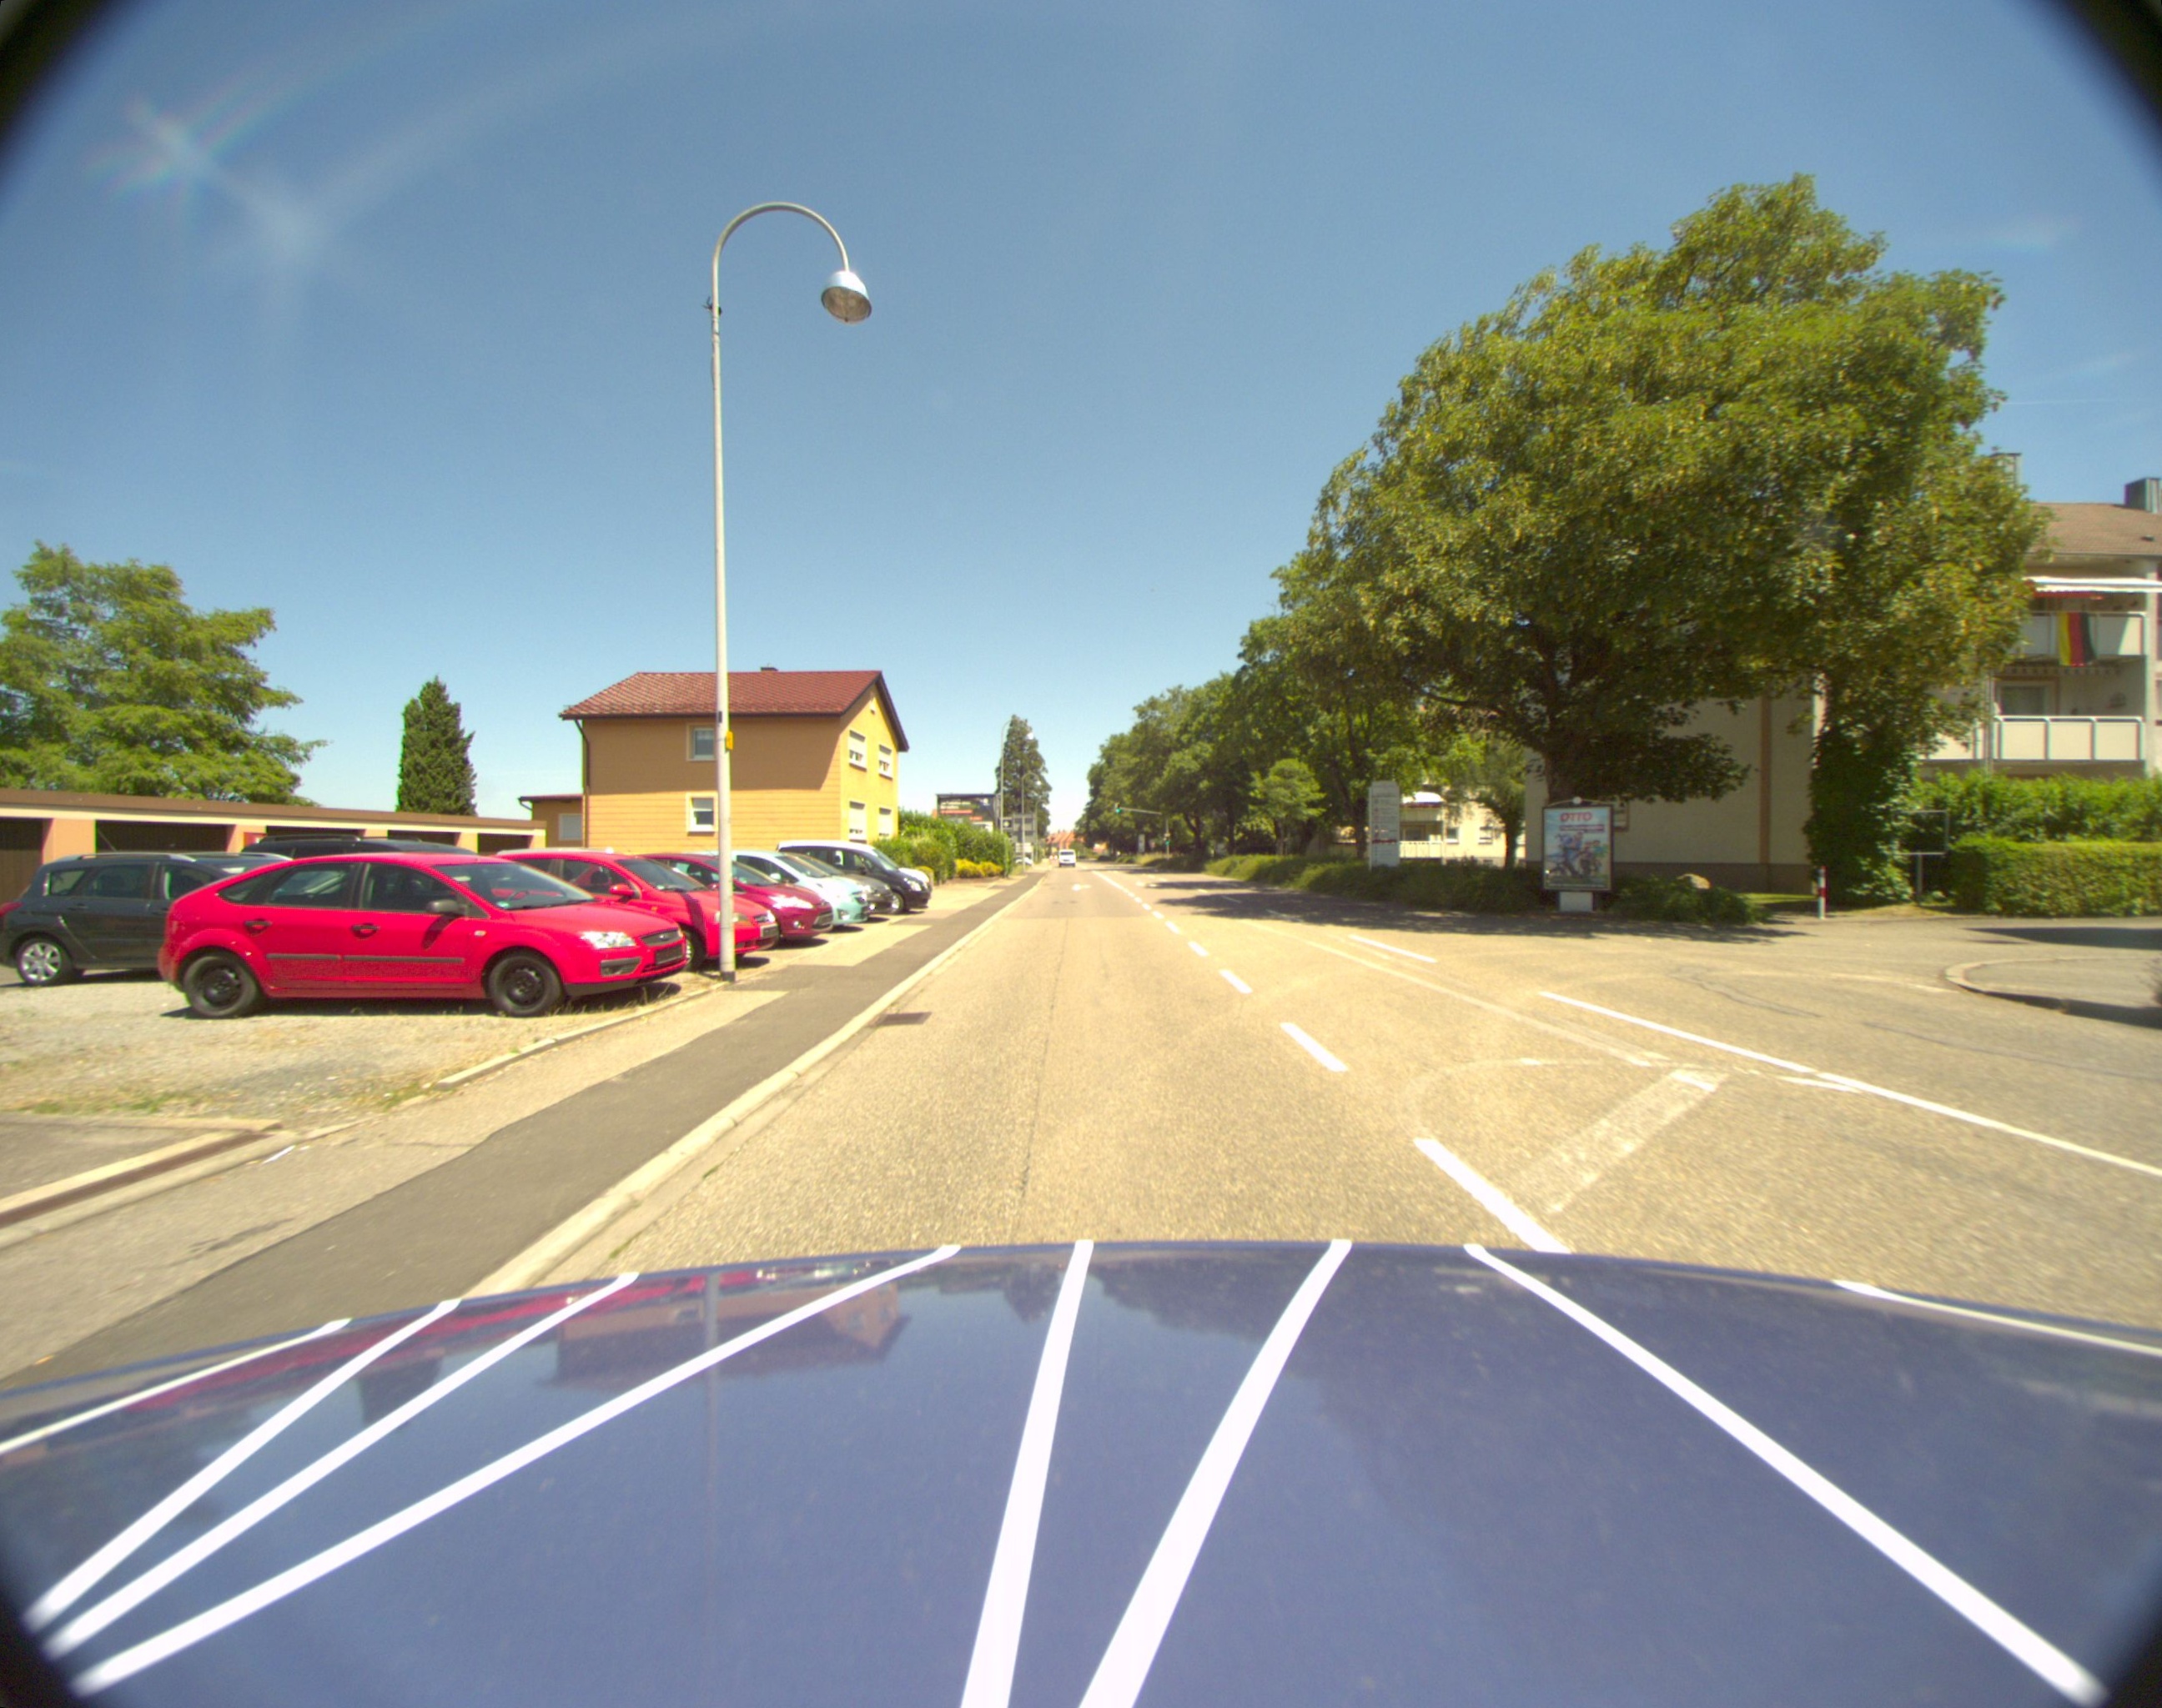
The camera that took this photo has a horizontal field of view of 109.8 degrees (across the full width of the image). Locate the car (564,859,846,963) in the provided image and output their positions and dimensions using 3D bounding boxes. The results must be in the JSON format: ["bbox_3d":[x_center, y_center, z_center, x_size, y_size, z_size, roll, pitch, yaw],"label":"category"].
[{"bbox_3d":[-5.909,0.860,12.298,3.695,1.557,1.749,0,0,-4],"label":"car"}]

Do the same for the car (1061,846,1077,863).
[{"bbox_3d":[-1.429,0.062,87.387,1.796,1.904,3.639,-1,1,-2],"label":"car"}]

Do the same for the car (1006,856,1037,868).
[{"bbox_3d":[-7.209,0.963,92.146,3.637,1.375,1.627,-1,1,1],"label":"car"}]

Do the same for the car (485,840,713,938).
[{"bbox_3d":[-10.607,0.752,16.901,3.903,1.827,1.689,-4,0,2],"label":"car"}]

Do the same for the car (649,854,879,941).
[{"bbox_3d":[-5.916,0.784,14.481,3.694,1.557,1.641,0,0,-2],"label":"car"}]

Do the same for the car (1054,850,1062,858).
[{"bbox_3d":[-6.232,0.034,206.754,1.862,2.002,4.000,-1,0,1],"label":"car"}]

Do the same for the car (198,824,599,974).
[{"bbox_3d":[-10.517,0.647,12.033,4.352,1.885,1.971,-4,0,-3],"label":"car"}]

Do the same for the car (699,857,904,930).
[{"bbox_3d":[-6.004,0.815,16.652,3.801,1.500,1.833,0,0,1],"label":"car"}]

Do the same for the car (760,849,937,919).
[{"bbox_3d":[-5.665,0.718,18.913,3.886,1.671,1.763,0,0,-3],"label":"car"}]

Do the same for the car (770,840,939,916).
[{"bbox_3d":[-6.143,0.630,21.006,4.146,1.927,1.807,-1,0,-5],"label":"car"}]

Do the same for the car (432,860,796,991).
[{"bbox_3d":[-5.913,0.866,9.992,3.695,1.557,1.708,0,0,-3],"label":"car"}]

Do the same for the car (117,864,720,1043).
[{"bbox_3d":[-6.159,0.873,7.523,4.235,1.525,1.958,0,0,-1],"label":"car"}]

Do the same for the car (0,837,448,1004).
[{"bbox_3d":[-10.753,0.771,9.501,4.050,1.658,1.783,-4,0,0],"label":"car"}]
